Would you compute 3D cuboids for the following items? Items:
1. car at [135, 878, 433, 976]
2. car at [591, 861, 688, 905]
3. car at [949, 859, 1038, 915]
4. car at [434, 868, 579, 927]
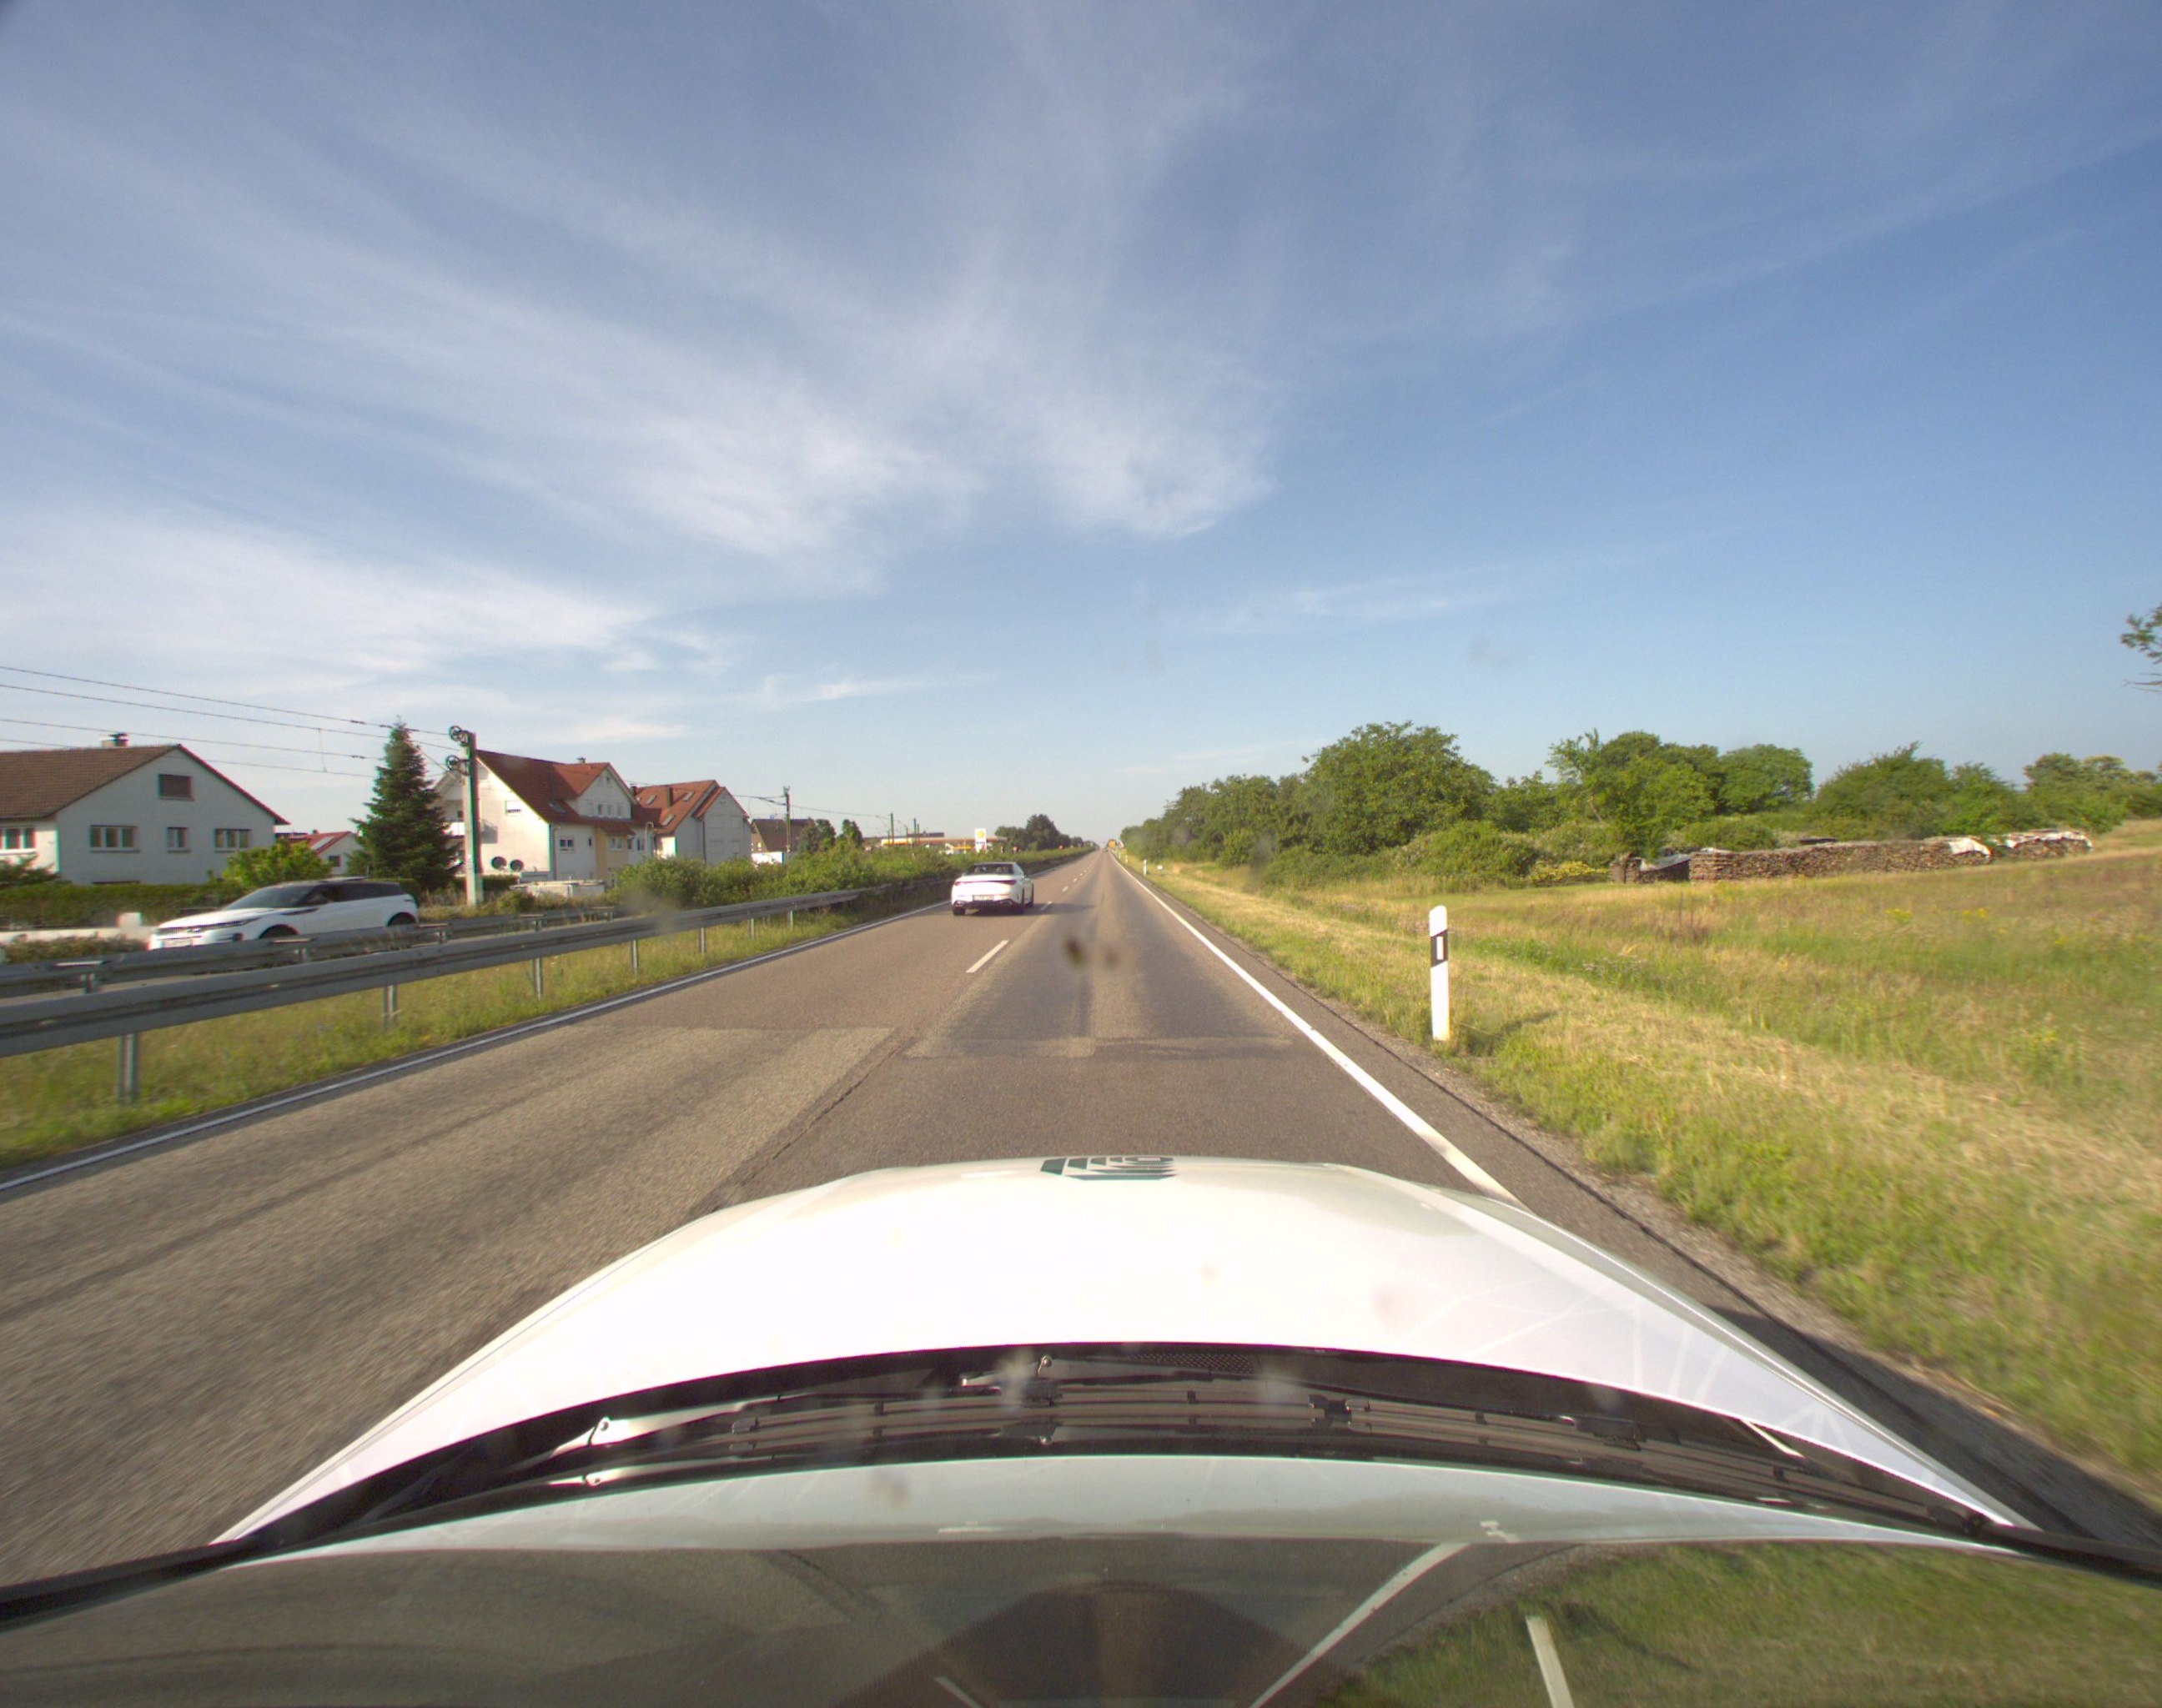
[{"bbox_3d":[-16.049,1.381,16.813,1.709,1.611,4.448,0,0,1],"label":"car"},{"bbox_3d":[-19.190,1.213,35.651,1.986,1.750,4.001,0,0,1],"label":"car"},{"bbox_3d":[-2.286,0.844,22.650,1.764,1.337,4.952,0,0,2],"label":"car"},{"bbox_3d":[-19.257,1.400,27.536,1.986,1.750,4.001,0,0,1],"label":"car"}]
